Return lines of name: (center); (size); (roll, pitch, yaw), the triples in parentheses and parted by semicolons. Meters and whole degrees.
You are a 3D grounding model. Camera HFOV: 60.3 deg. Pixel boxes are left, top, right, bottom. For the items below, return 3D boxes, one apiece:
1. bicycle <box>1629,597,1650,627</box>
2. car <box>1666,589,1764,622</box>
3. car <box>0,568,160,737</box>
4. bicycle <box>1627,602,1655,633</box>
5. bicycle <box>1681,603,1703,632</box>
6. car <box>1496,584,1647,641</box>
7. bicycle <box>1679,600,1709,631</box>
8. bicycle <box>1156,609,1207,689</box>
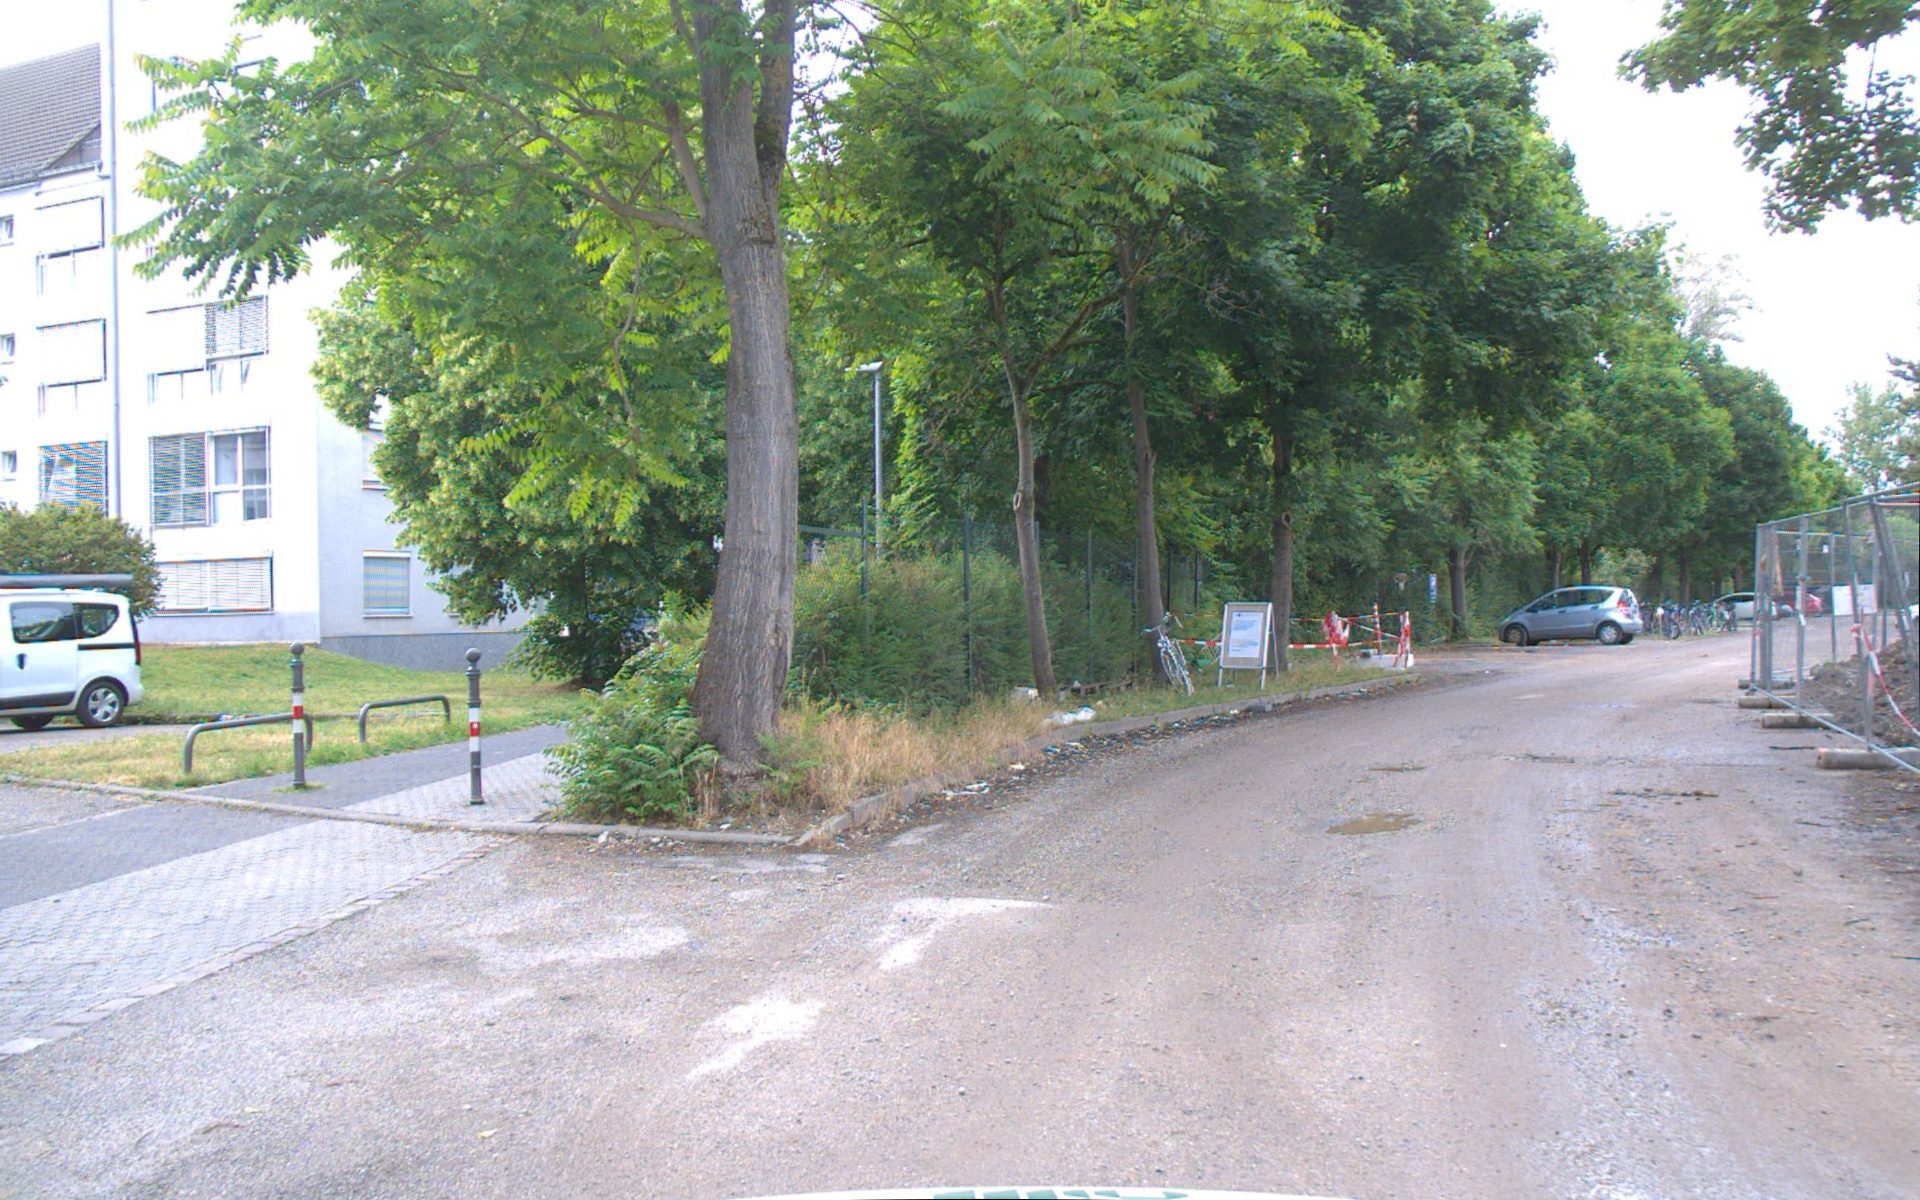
bicycle: (23.406, 0.401, 56.980); (0.576, 0.995, 2.032); (-1, 0, 20)
car: (37.061, 0.279, 81.238); (3.904, 1.534, 2.000); (-1, 0, 1)
car: (-12.419, 0.670, 20.409); (1.812, 2.049, 4.346); (-2, -1, 27)
bicycle: (22.546, 0.565, 54.770); (0.755, 0.995, 2.032); (-1, 0, 20)
bicycle: (26.292, 0.630, 59.443); (0.576, 0.995, 2.032); (-1, 0, 20)
car: (17.118, 0.350, 46.351); (3.635, 1.527, 1.861); (-1, 0, 35)
bicycle: (24.032, 0.505, 54.200); (0.755, 0.995, 2.032); (-1, 0, 20)
bicycle: (2.773, 0.596, 20.610); (0.410, 0.921, 1.155); (5, 2, 15)
